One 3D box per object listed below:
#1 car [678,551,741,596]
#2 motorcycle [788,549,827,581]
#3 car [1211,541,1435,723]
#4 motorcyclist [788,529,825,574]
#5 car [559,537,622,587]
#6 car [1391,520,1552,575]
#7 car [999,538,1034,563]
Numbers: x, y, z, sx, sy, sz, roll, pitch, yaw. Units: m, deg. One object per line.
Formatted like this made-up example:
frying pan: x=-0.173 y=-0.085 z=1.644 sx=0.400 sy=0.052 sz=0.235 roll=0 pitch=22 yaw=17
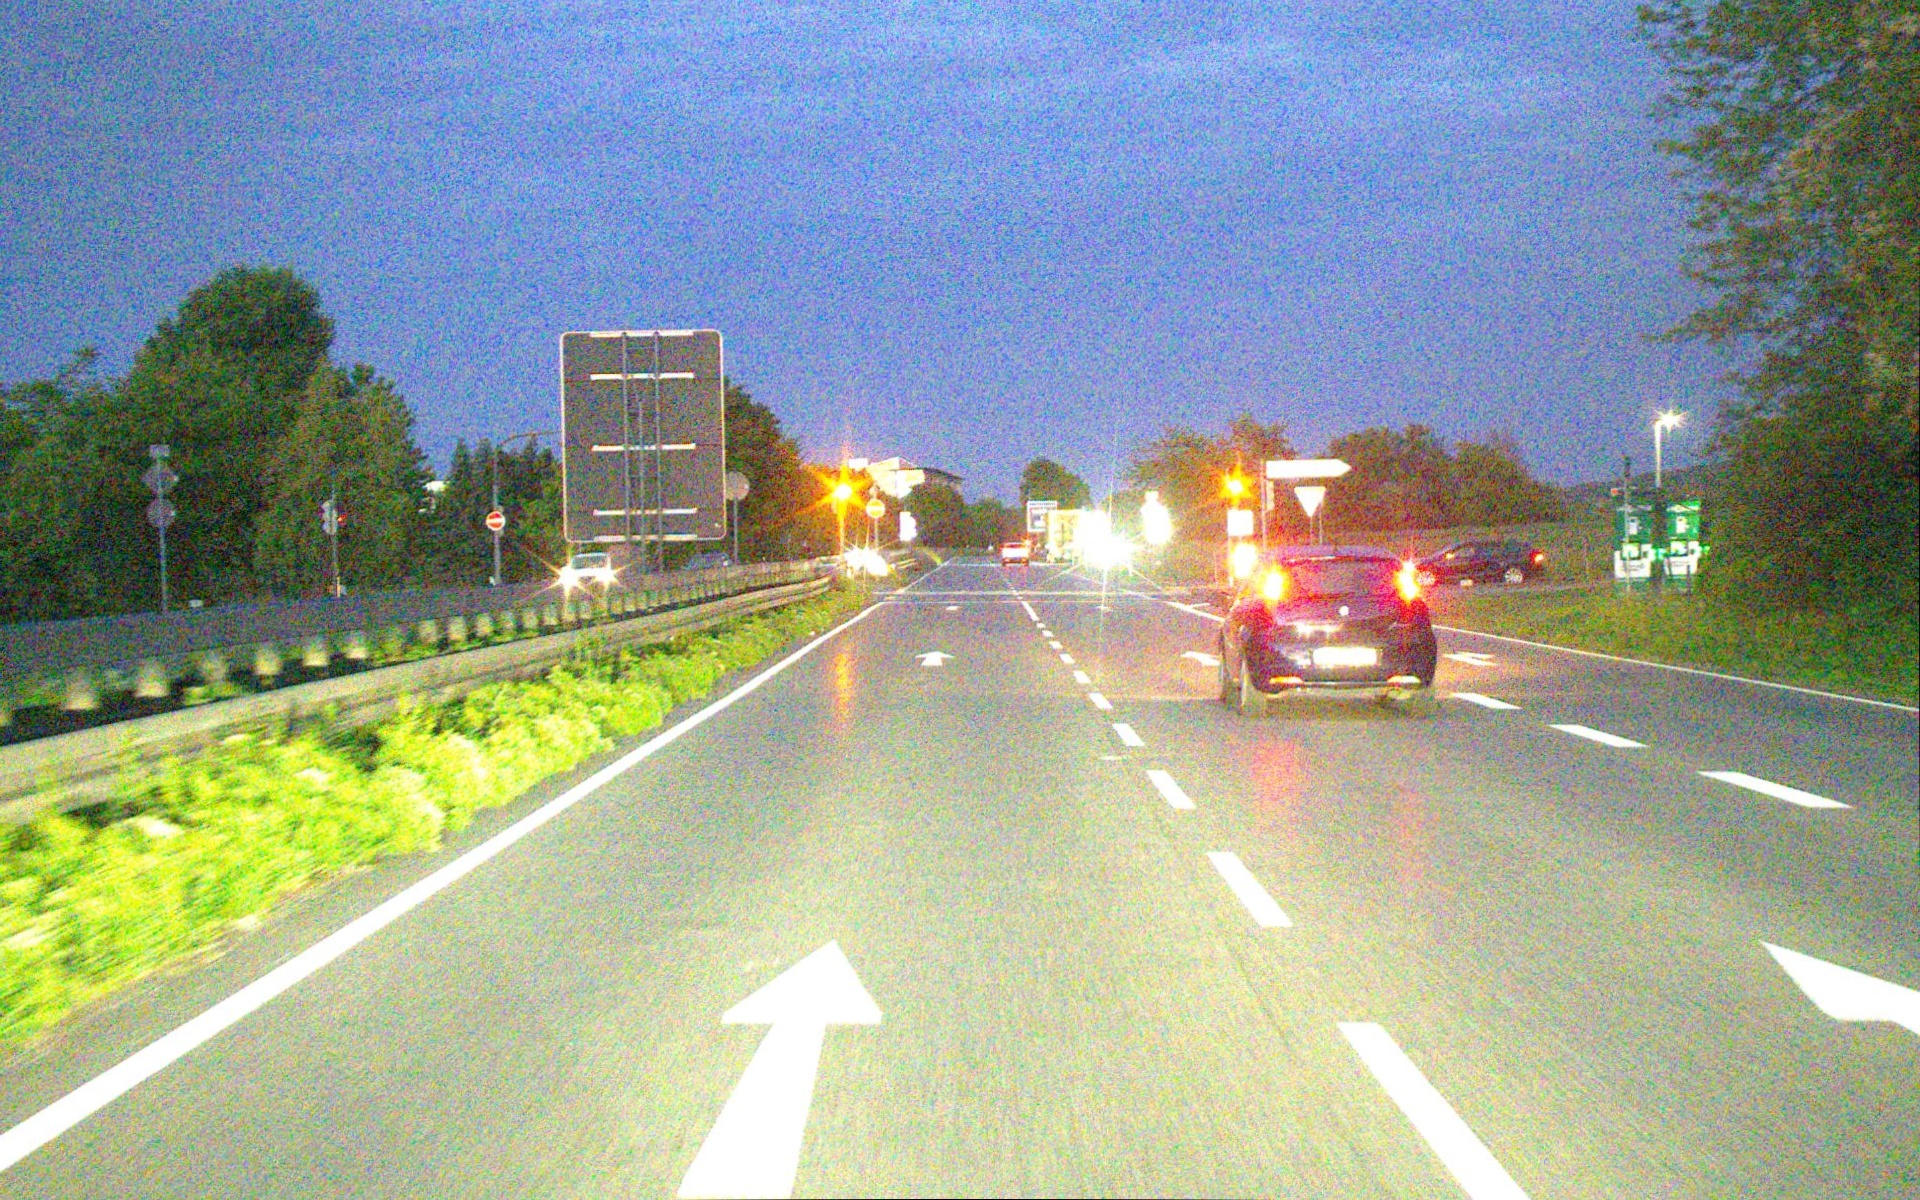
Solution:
car: x=-8.574 y=-0.940 z=118.003 sx=1.920 sy=1.427 sz=4.502 roll=-2 pitch=1 yaw=-2
motorcycle: x=-5.401 y=-1.244 z=121.857 sx=0.979 sy=1.095 sz=2.508 roll=-1 pitch=1 yaw=6
car: x=3.189 y=0.234 z=30.827 sx=1.670 sy=1.515 sz=4.106 roll=0 pitch=1 yaw=1
motorcyclist: x=-5.424 y=-1.717 z=121.747 sx=1.137 sy=1.579 sz=0.972 roll=-2 pitch=1 yaw=7
car: x=-12.730 y=-1.319 z=118.558 sx=1.794 sy=1.665 sz=4.502 roll=-1 pitch=1 yaw=-2
car: x=15.638 y=-1.604 z=105.256 sx=4.601 sy=1.515 sz=2.000 roll=-2 pitch=1 yaw=1
car: x=3.814 y=-3.381 z=234.235 sx=2.273 sy=1.626 sz=4.000 roll=0 pitch=1 yaw=-1
